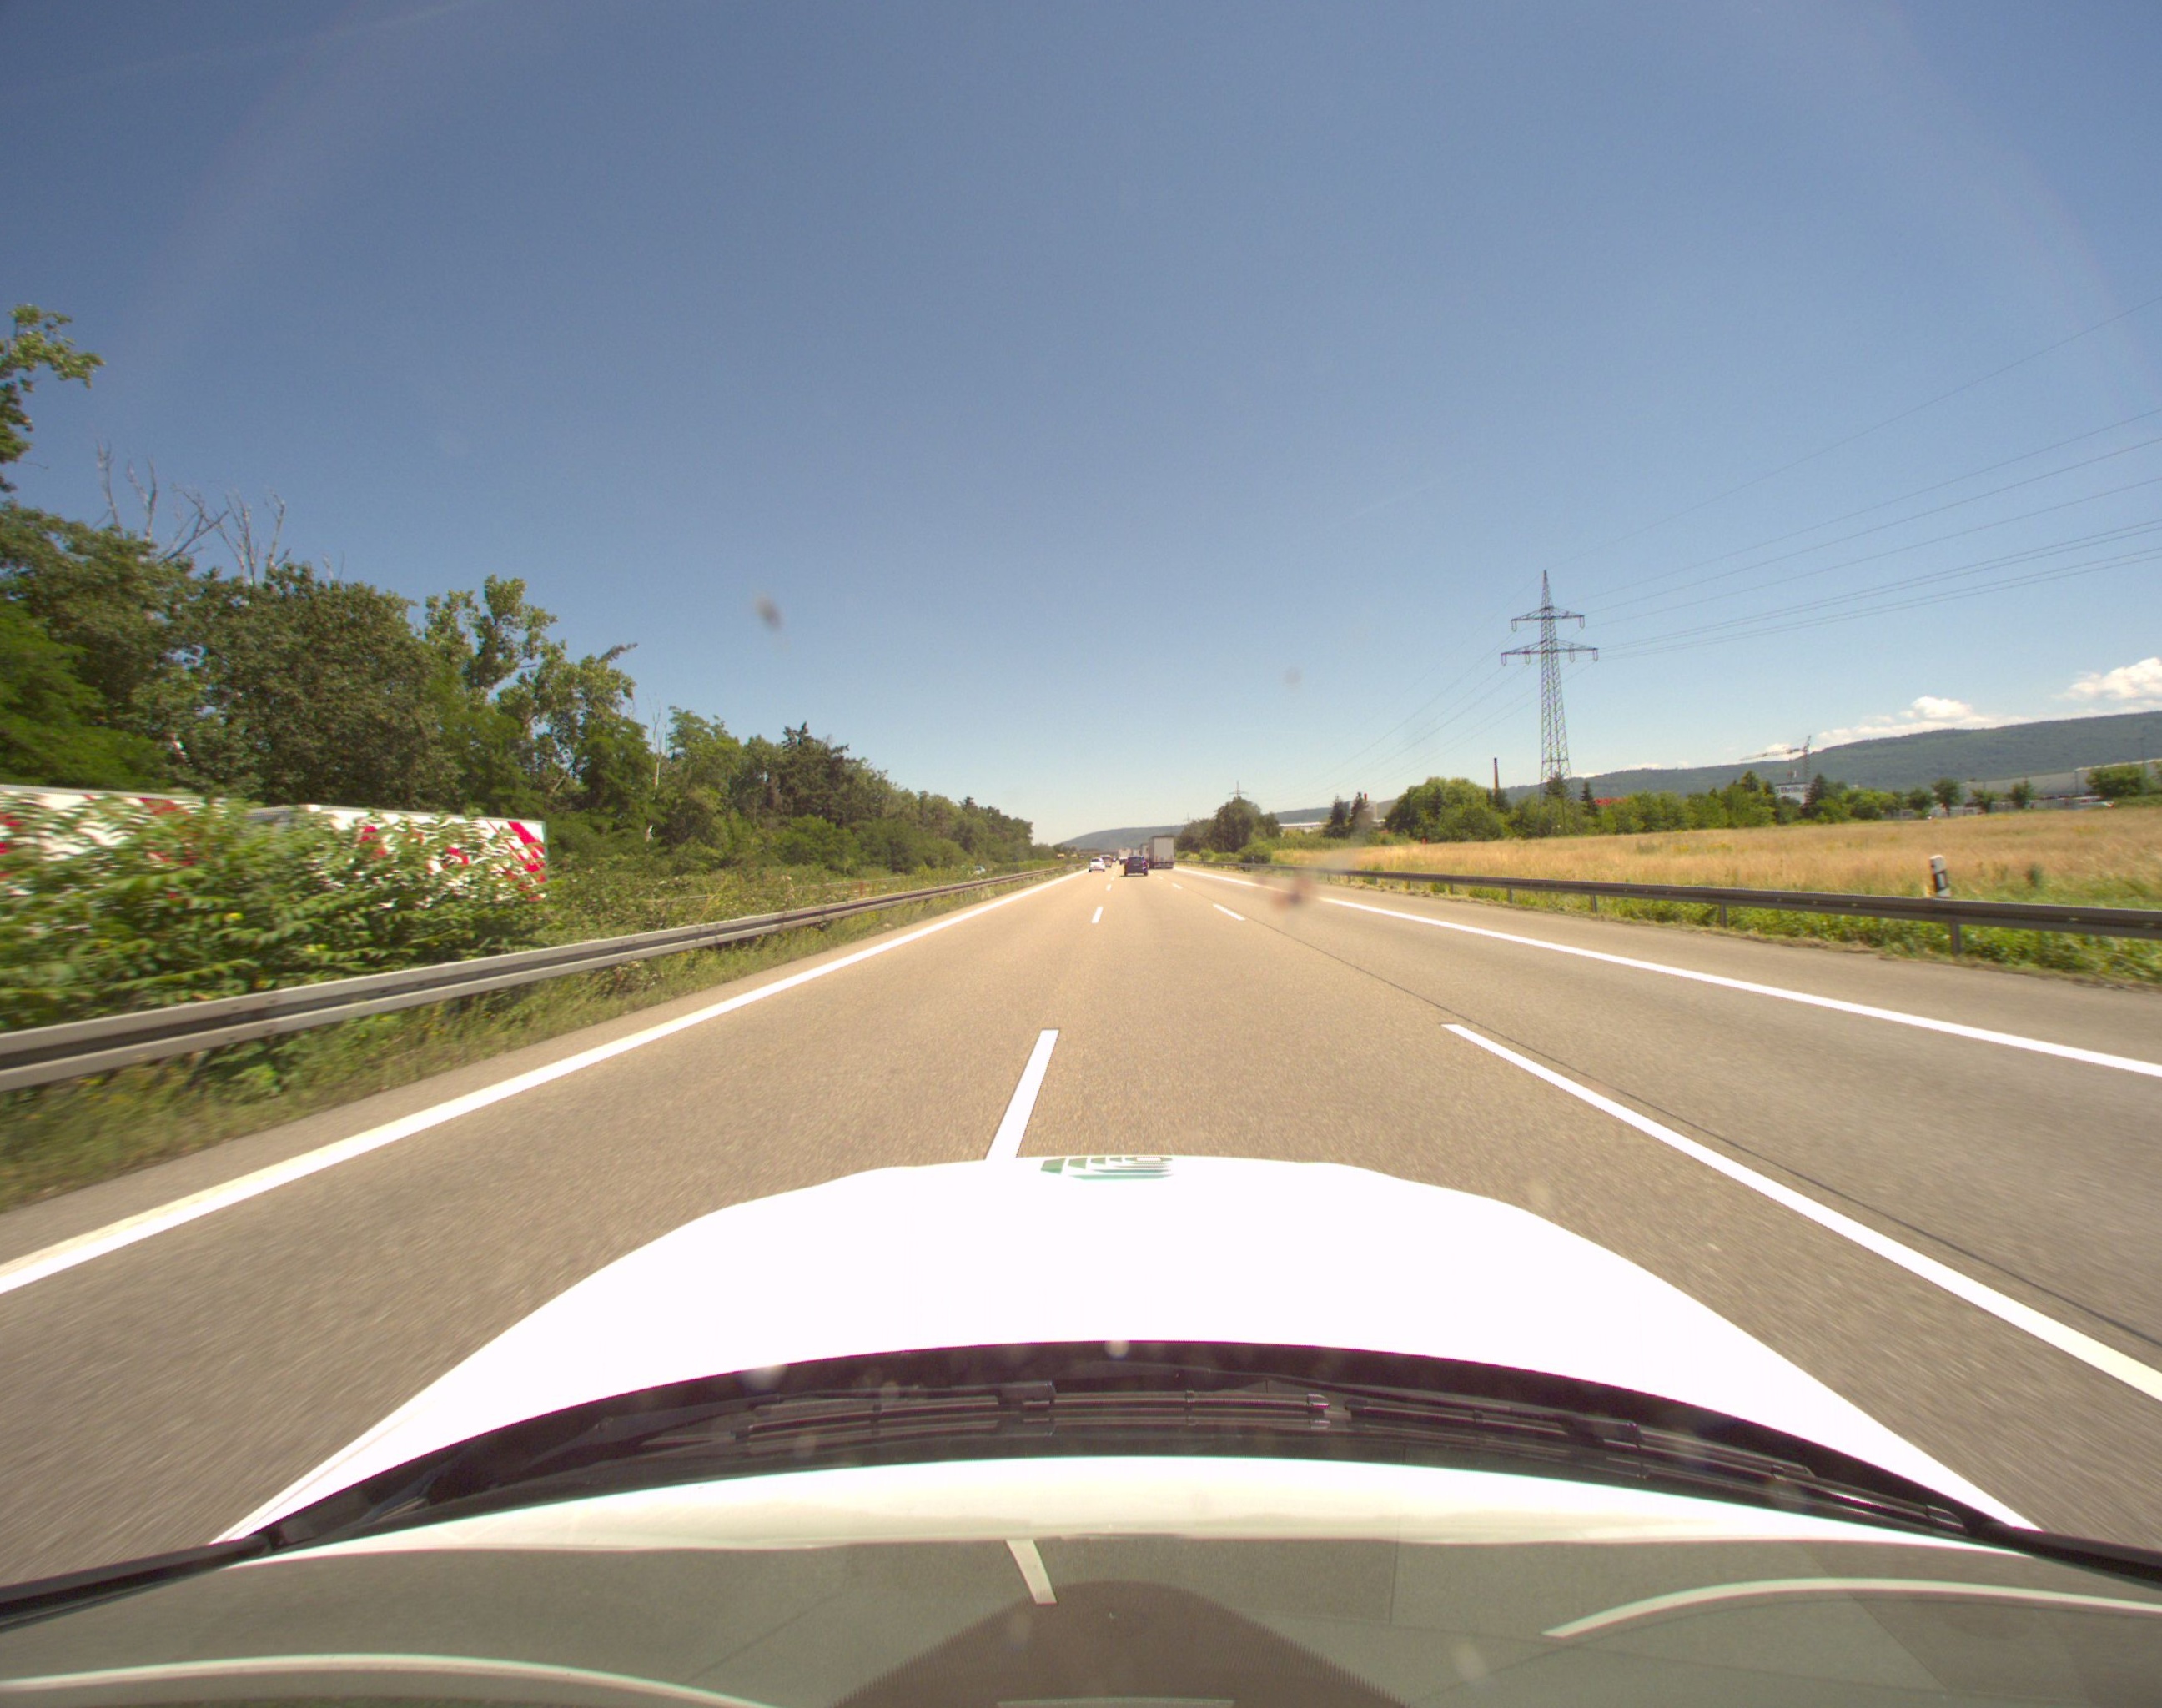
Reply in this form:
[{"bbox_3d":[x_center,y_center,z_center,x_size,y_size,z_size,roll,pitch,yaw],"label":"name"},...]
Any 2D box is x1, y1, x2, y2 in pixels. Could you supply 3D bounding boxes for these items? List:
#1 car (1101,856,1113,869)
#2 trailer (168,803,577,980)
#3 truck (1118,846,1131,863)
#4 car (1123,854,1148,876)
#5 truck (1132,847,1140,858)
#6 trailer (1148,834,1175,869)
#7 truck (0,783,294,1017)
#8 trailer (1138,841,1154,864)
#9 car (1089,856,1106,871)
[{"bbox_3d":[3.914,1.254,121.863,1.754,1.850,4.002,-3,0,2],"label":"car"},{"bbox_3d":[-18.733,0.876,22.845,2.914,3.828,9.280,-3,-1,2],"label":"trailer"},{"bbox_3d":[9.164,0.120,172.053,2.771,3.373,8.133,-1,-1,3],"label":"truck"},{"bbox_3d":[4.391,0.880,66.323,1.866,1.623,4.006,-1,0,2],"label":"car"},{"bbox_3d":[17.260,-0.401,255.377,2.212,3.209,10.392,-3,0,3],"label":"truck"},{"bbox_3d":[10.064,-0.199,103.341,2.725,4.106,13.131,-1,0,3],"label":"trailer"},{"bbox_3d":[-19.153,0.810,13.435,2.914,3.828,9.280,-3,-1,2],"label":"truck"},{"bbox_3d":[13.210,-0.251,165.482,2.777,4.164,13.586,-3,-1,3],"label":"trailer"},{"bbox_3d":[1.799,1.023,88.264,1.601,1.467,4.002,-3,0,2],"label":"car"}]
